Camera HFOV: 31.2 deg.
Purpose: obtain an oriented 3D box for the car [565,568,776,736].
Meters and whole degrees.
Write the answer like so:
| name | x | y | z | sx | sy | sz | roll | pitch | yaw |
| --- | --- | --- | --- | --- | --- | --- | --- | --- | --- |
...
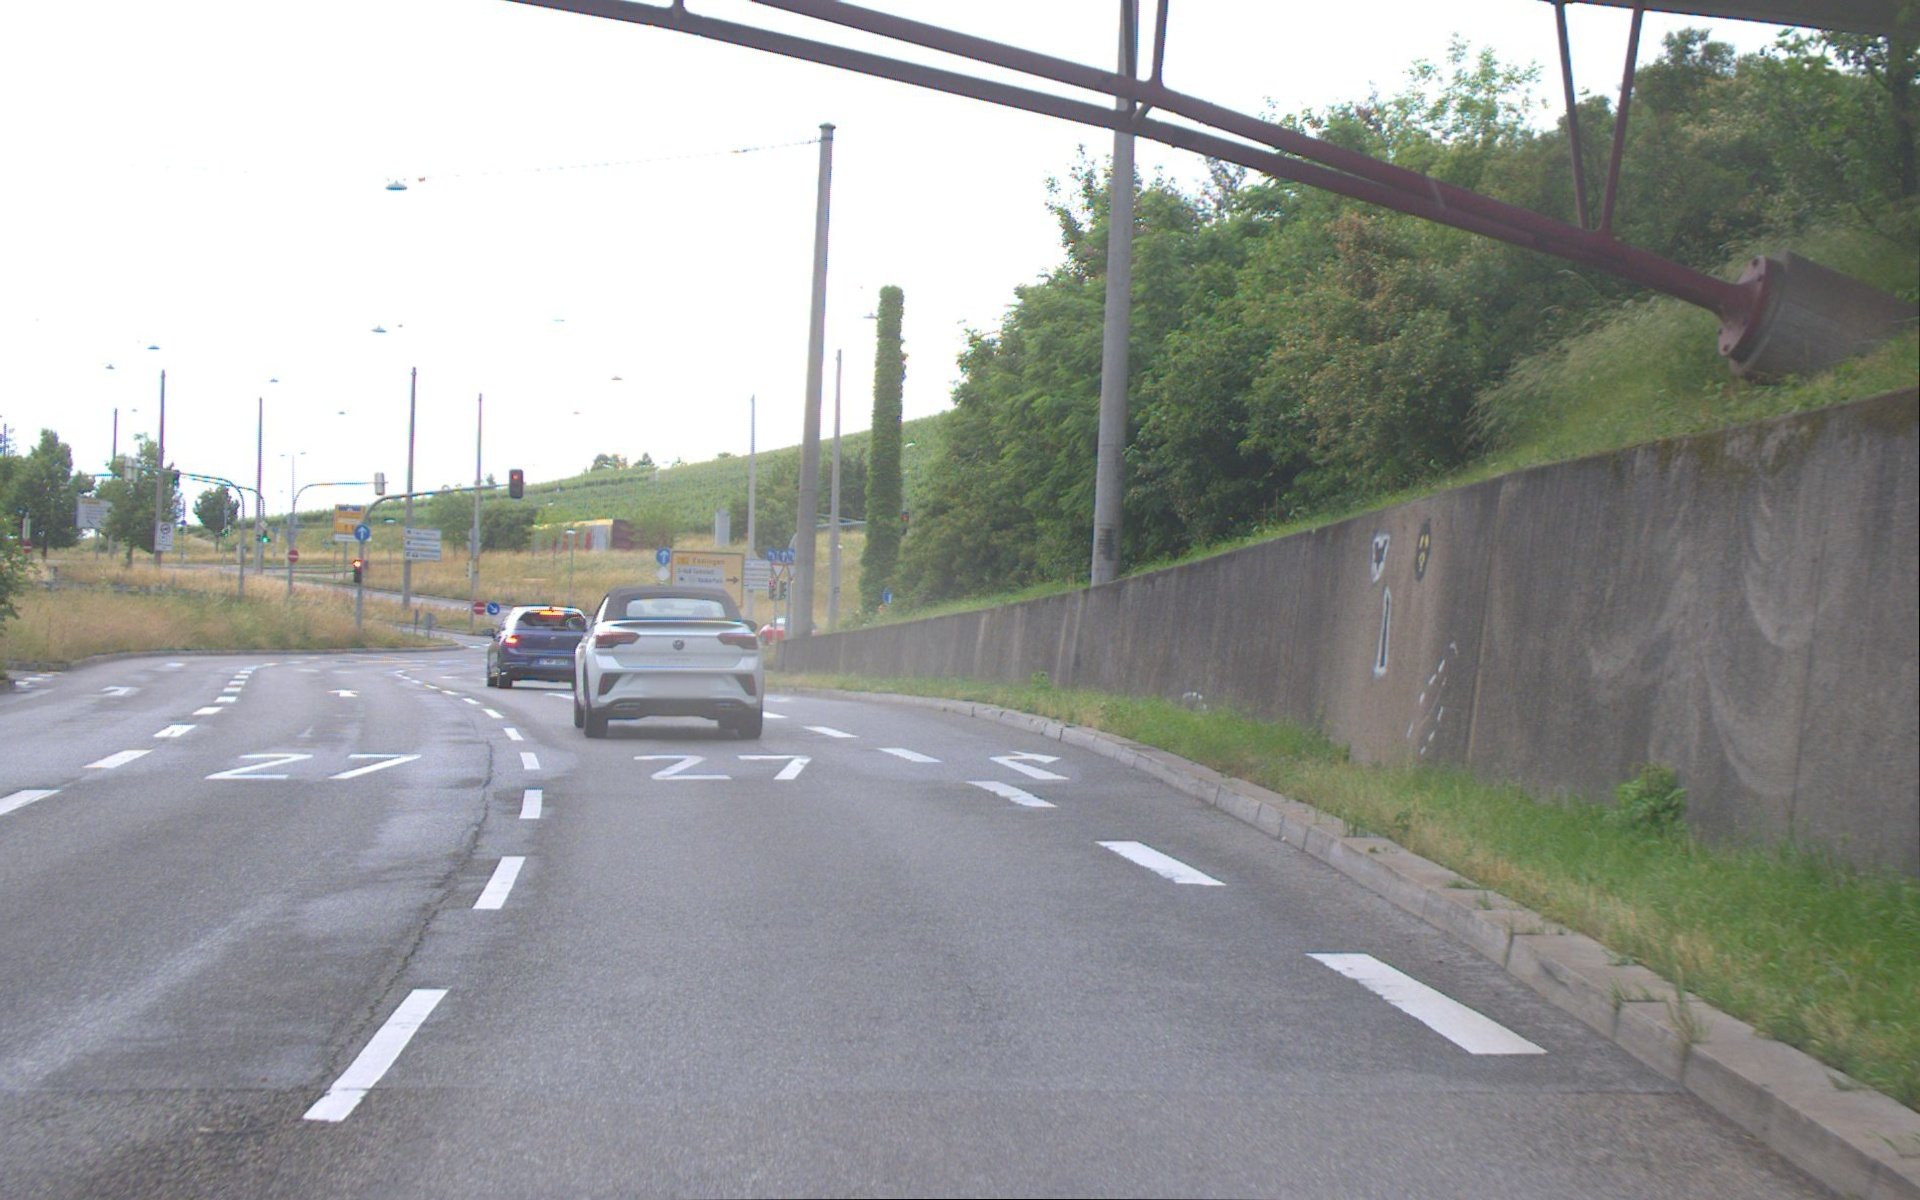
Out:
| name | x | y | z | sx | sy | sz | roll | pitch | yaw |
| --- | --- | --- | --- | --- | --- | --- | --- | --- | --- |
| car | -3.058 | 0.486 | 35.608 | 1.995 | 1.573 | 4.126 | -1 | 1 | -7 |

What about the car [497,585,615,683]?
| name | x | y | z | sx | sy | sz | roll | pitch | yaw |
| --- | --- | --- | --- | --- | --- | --- | --- | --- | --- |
| car | -7.161 | 0.632 | 60.903 | 1.926 | 1.594 | 4.062 | 3 | -2 | -7 |

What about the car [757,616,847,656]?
| name | x | y | z | sx | sy | sz | roll | pitch | yaw |
| --- | --- | --- | --- | --- | --- | --- | --- | --- | --- |
| car | -7.362 | 1.662 | 160.029 | 1.994 | 1.706 | 4.563 | 1 | 0 | -35 |
